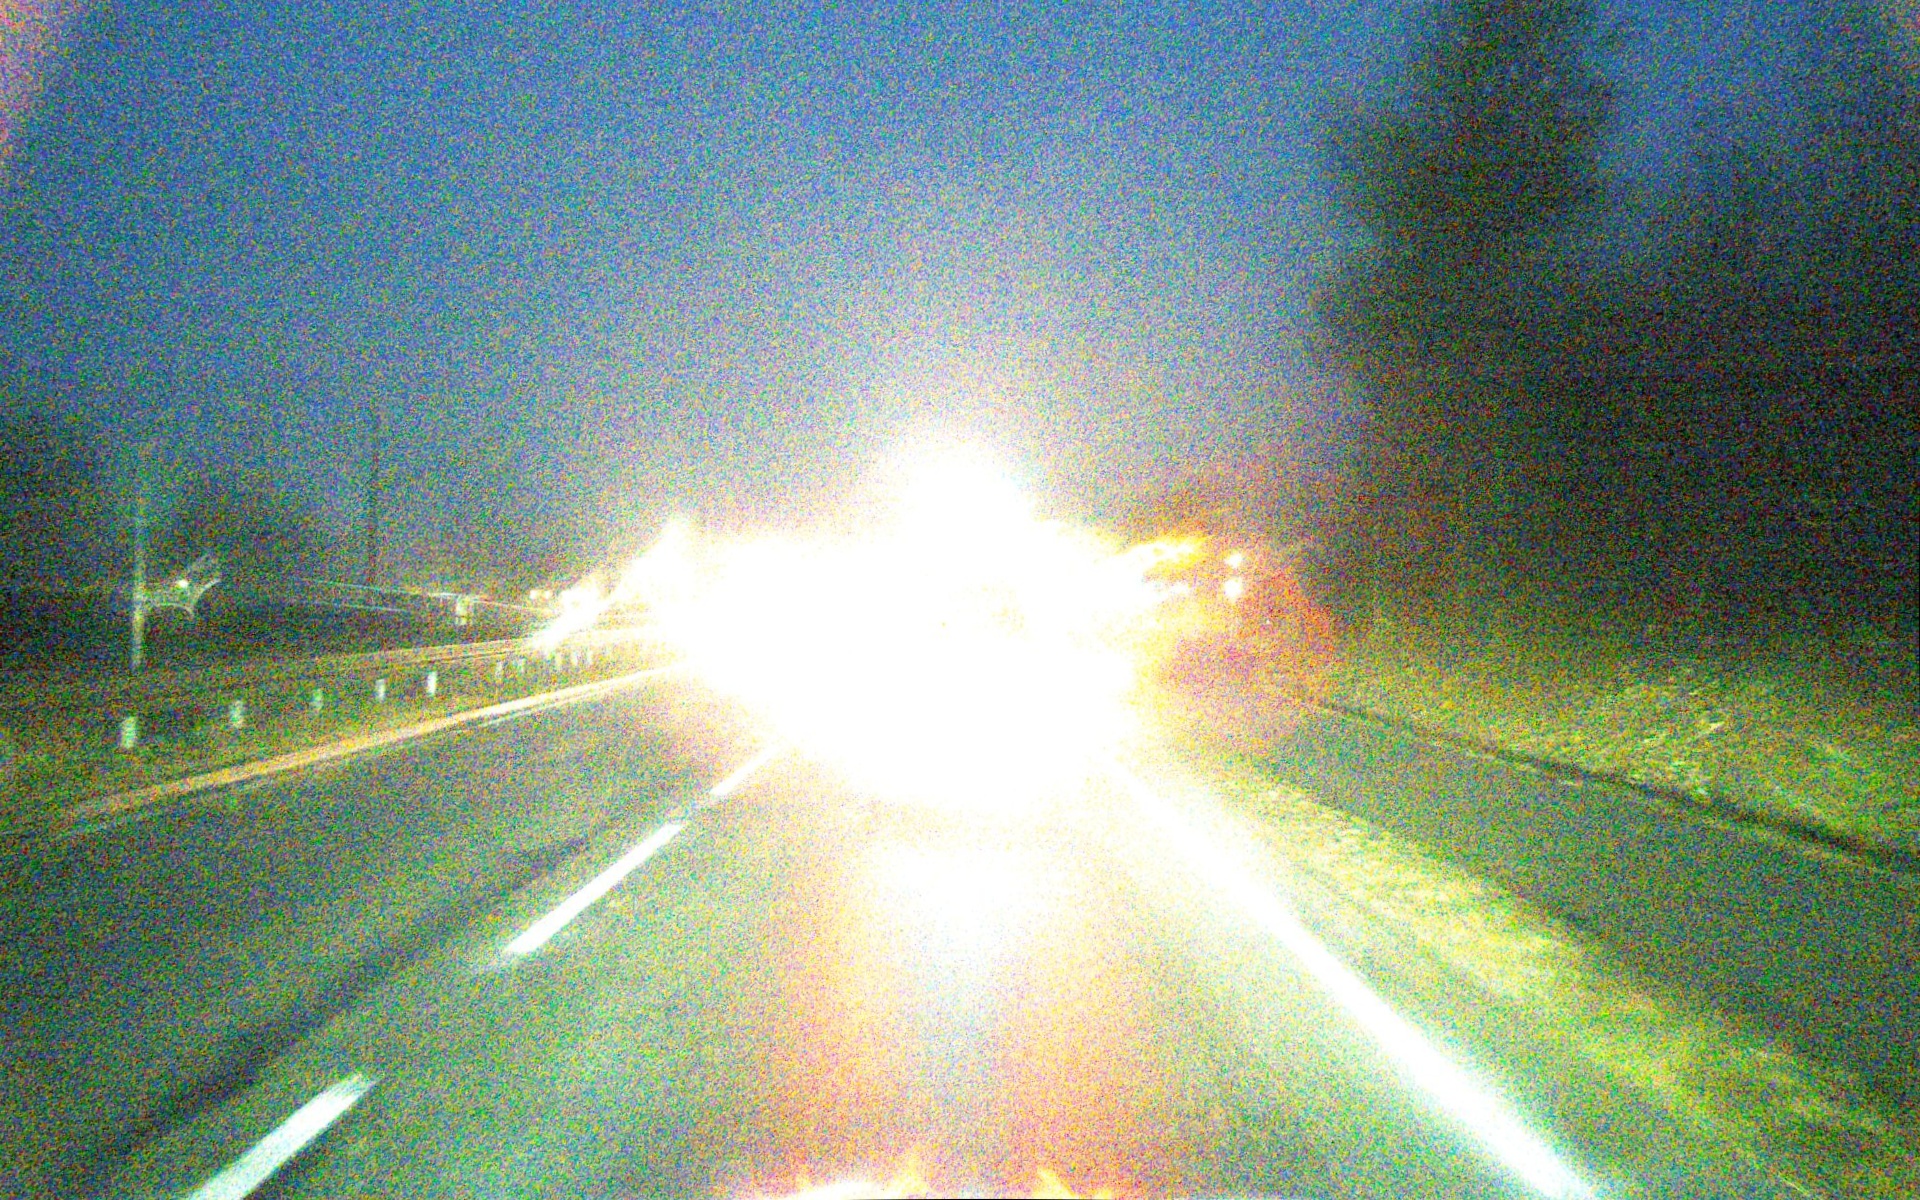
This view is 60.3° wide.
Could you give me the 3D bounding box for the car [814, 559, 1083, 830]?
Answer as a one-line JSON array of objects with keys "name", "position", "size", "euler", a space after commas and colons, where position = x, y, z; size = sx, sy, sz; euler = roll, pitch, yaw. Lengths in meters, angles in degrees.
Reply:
[{"name": "car", "position": [-0.079, 0.635, 12.784], "size": [1.739, 1.742, 3.999], "euler": [1, -1, 0]}]
